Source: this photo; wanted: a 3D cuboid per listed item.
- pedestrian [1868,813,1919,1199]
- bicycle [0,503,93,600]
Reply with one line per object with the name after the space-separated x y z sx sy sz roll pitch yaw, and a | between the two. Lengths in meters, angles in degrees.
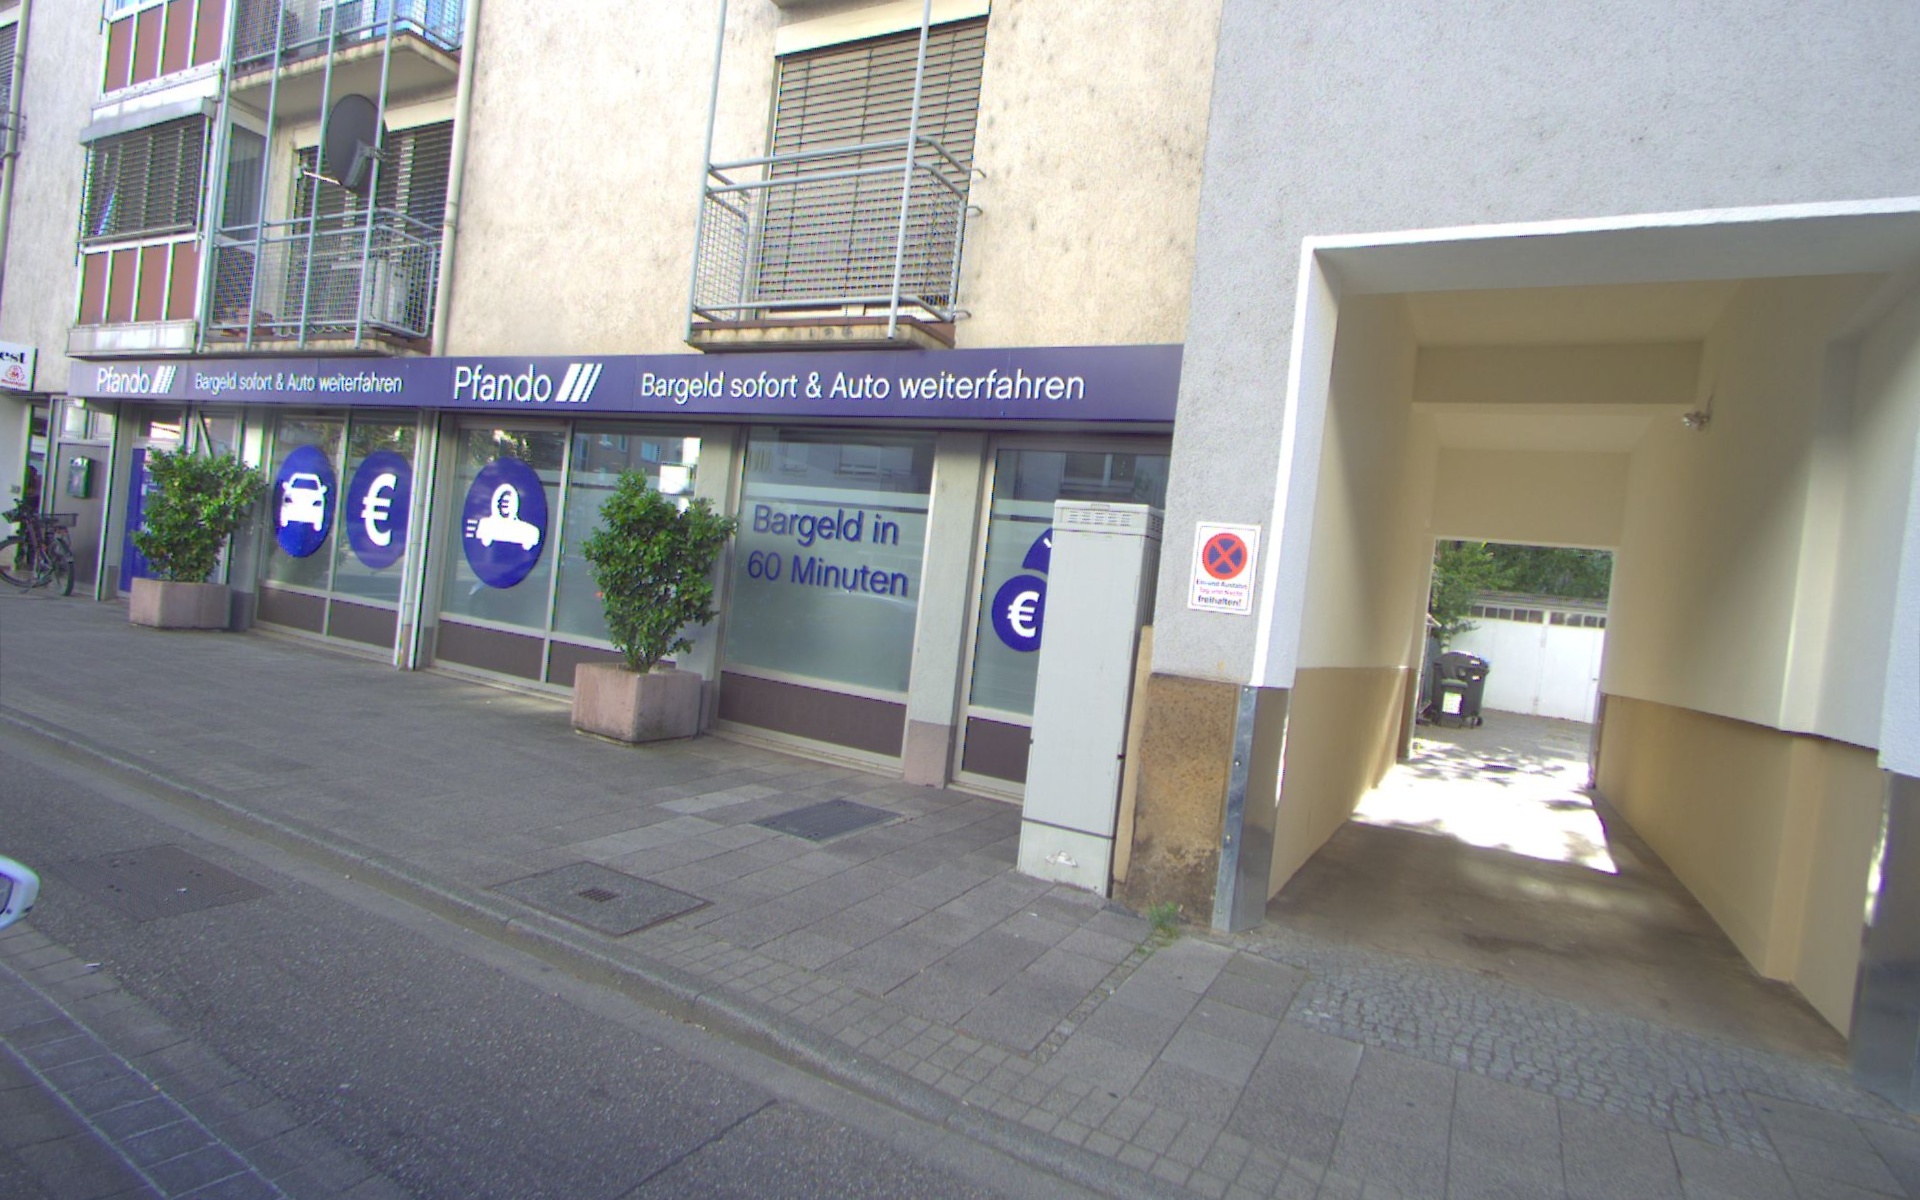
2.929 0.936 2.367 0.854 1.555 0.825 7 3 30 | pedestrian
-11.887 -0.644 12.886 1.779 1.086 0.531 7 1 28 | bicycle
